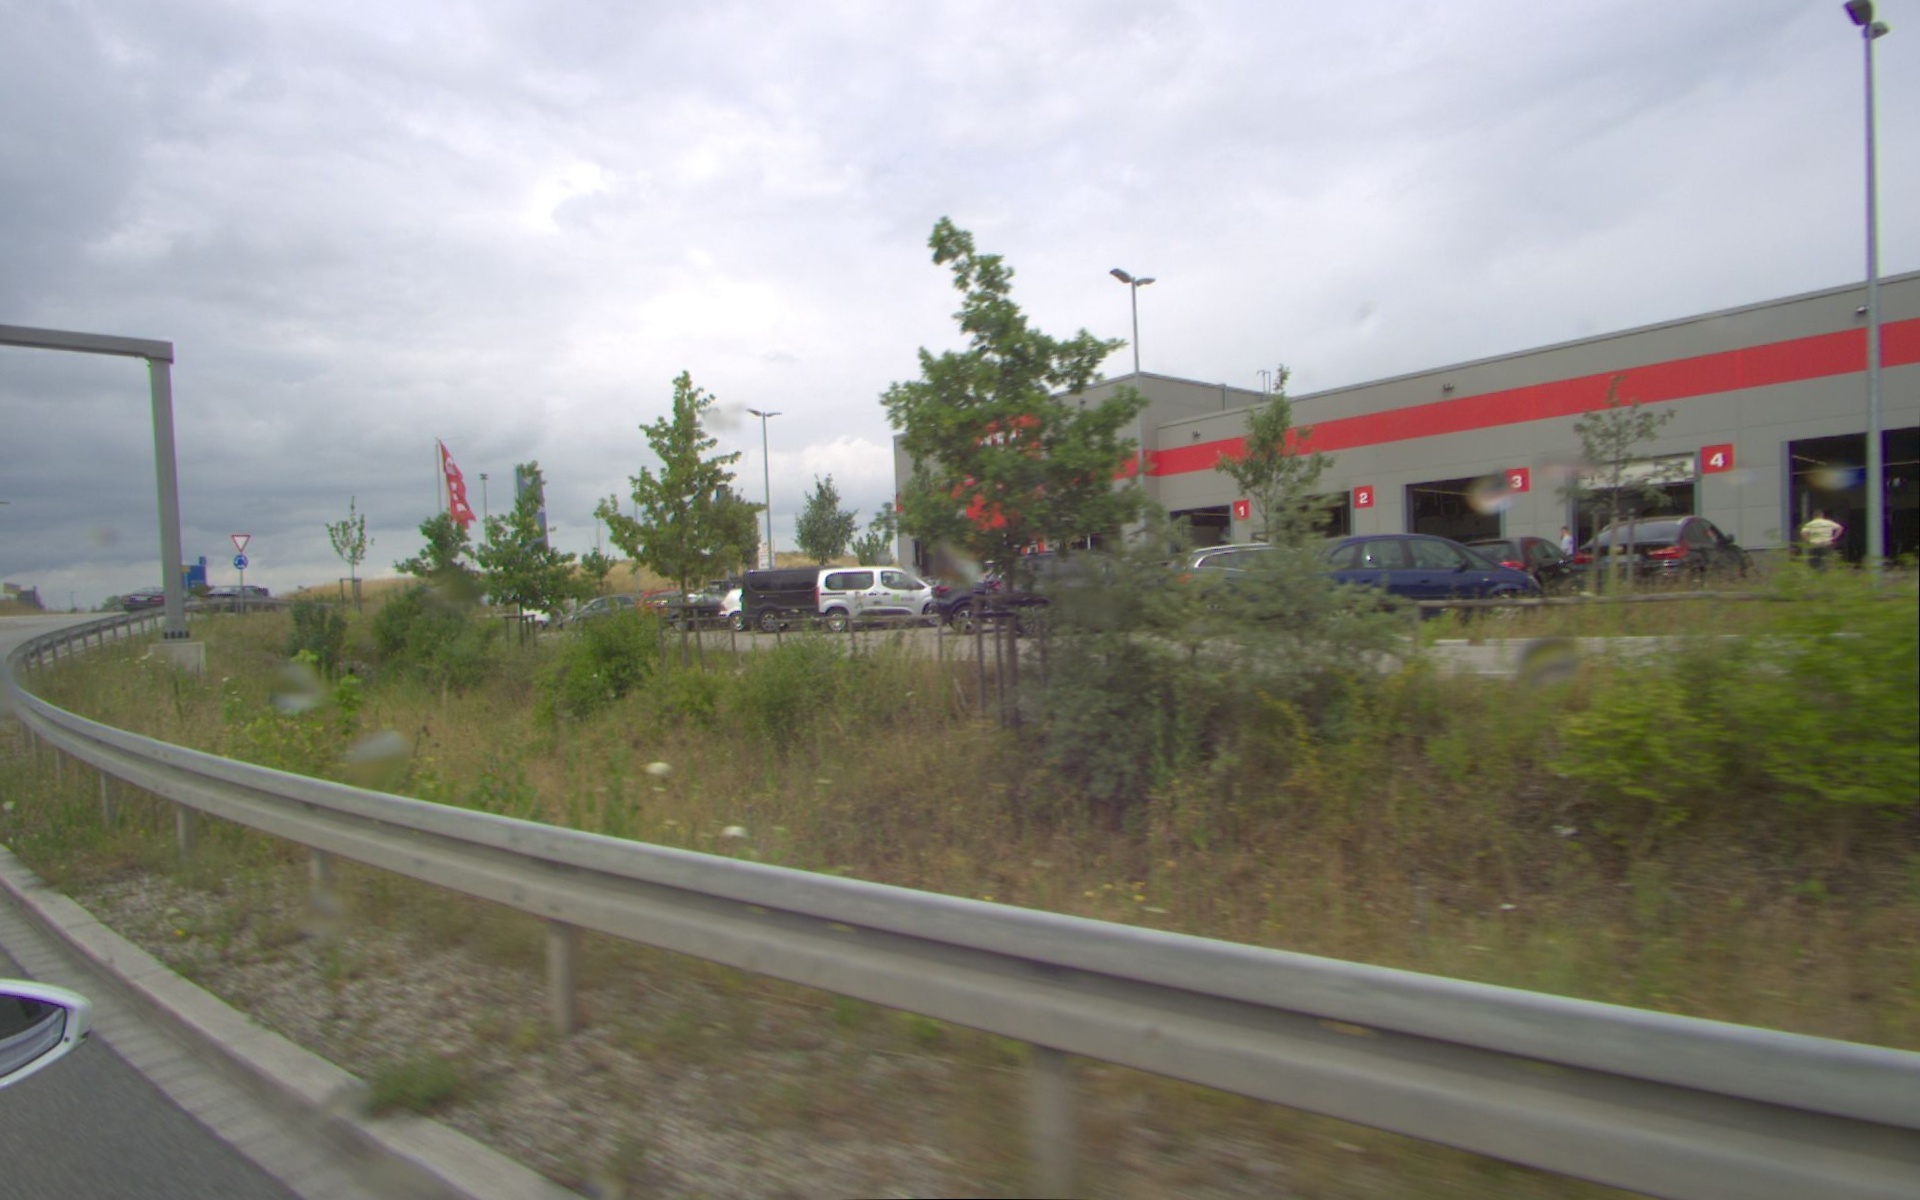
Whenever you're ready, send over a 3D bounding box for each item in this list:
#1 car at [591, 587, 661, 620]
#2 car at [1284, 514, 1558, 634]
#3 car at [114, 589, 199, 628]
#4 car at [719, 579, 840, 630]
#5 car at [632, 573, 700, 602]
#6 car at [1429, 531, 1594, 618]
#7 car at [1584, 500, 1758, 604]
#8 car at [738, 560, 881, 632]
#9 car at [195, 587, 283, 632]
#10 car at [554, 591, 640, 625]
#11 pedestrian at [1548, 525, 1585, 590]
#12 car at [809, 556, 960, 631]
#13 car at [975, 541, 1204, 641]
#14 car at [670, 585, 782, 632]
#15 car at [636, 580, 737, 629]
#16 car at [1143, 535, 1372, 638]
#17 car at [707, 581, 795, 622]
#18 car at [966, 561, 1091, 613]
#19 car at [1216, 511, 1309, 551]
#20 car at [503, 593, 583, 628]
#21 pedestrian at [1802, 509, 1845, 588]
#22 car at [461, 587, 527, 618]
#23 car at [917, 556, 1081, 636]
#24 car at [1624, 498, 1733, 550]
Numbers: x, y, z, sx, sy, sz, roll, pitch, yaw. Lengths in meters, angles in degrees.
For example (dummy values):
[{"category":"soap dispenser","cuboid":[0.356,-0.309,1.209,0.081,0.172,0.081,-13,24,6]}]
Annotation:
[{"category":"car","cuboid":[-18.088,0.209,54.252,3.529,1.716,1.638,-1,2,30]},{"category":"car","cuboid":[7.462,-0.407,16.473,3.693,1.660,1.667,-3,1,2]},{"category":"car","cuboid":[-39.463,0.377,49.291,1.869,1.807,4.146,-2,1,-19]},{"category":"car","cuboid":[-6.046,0.124,33.716,3.687,1.461,1.592,-3,2,1]},{"category":"car","cuboid":[-16.887,-0.704,57.556,3.603,1.568,1.688,-1,1,30]},{"category":"car","cuboid":[11.252,-0.543,20.335,3.852,1.554,1.706,-4,1,-41]},{"category":"car","cuboid":[12.969,-0.869,18.191,3.852,1.651,1.706,-4,1,-41]},{"category":"car","cuboid":[-4.639,-0.129,31.274,4.049,1.976,1.880,-3,1,2]},{"category":"car","cuboid":[-32.077,0.374,44.675,1.628,1.863,3.952,-2,1,-12]},{"category":"car","cuboid":[-17.749,0.400,49.016,3.631,1.502,1.492,-2,0,-39]},{"category":"pedestrian","cuboid":[16.843,-1.167,27.830,0.626,1.764,0.592,-1,0,-17]},{"category":"car","cuboid":[-2.141,-0.203,28.870,4.112,1.867,1.831,-3,2,-3]},{"category":"car","cuboid":[2.632,-0.200,21.048,4.462,1.757,1.831,-3,2,-2]},{"category":"car","cuboid":[-8.395,0.272,36.074,3.567,1.439,1.613,-3,2,0]},{"category":"car","cuboid":[-10.528,0.164,38.730,3.394,1.646,1.550,-3,2,0]},{"category":"car","cuboid":[5.506,-0.262,18.862,3.734,1.629,1.757,-3,2,1]},{"category":"car","cuboid":[-9.445,0.050,45.289,3.571,1.759,1.581,-1,0,-42]},{"category":"car","cuboid":[2.234,-0.426,32.142,3.919,1.408,1.583,-5,2,-39]},{"category":"car","cuboid":[12.547,-2.816,41.485,3.865,1.536,1.782,-1,3,-37]},{"category":"car","cuboid":[-21.224,0.536,51.029,3.519,1.647,1.642,-1,1,18]},{"category":"pedestrian","cuboid":[20.185,-1.185,23.421,0.666,1.764,0.627,-1,-1,33]},{"category":"car","cuboid":[-32.597,0.168,70.058,3.994,2.041,1.784,-2,2,-32]},{"category":"car","cuboid":[0.898,-0.111,24.071,3.637,1.652,1.648,-3,2,-8]},{"category":"car","cuboid":[21.900,-2.273,30.465,3.866,1.241,1.649,0,-1,-37]}]
